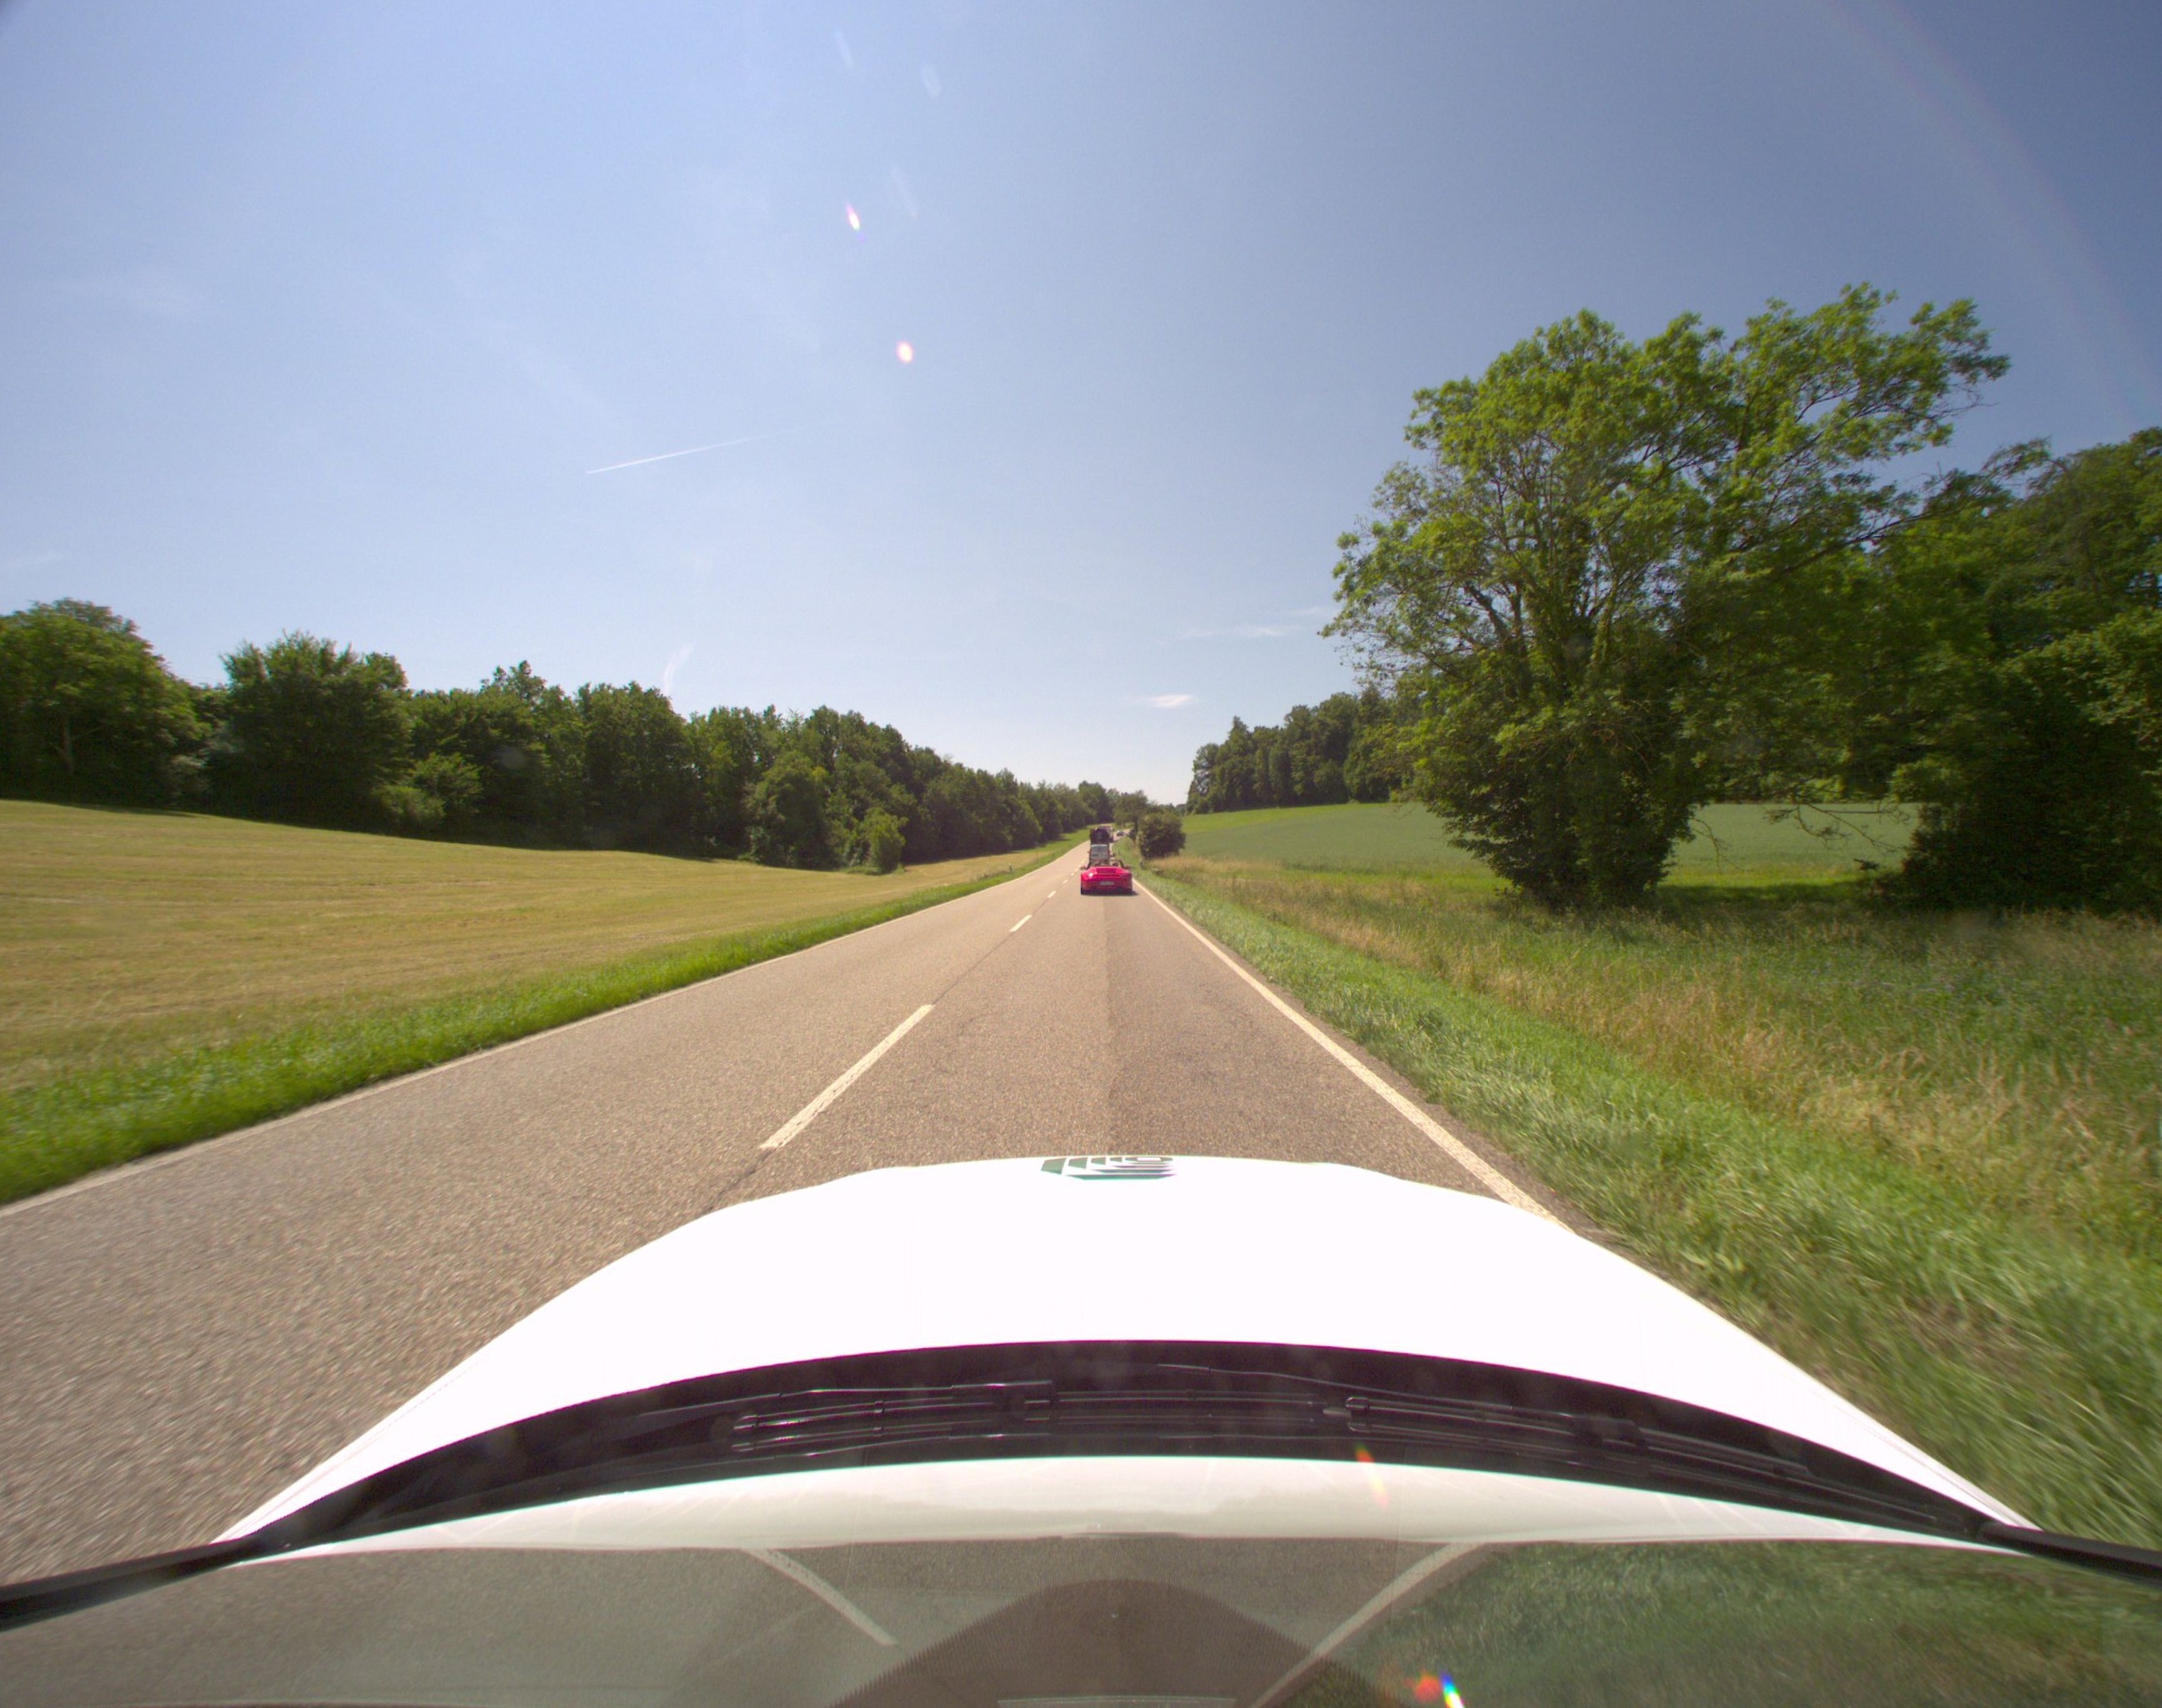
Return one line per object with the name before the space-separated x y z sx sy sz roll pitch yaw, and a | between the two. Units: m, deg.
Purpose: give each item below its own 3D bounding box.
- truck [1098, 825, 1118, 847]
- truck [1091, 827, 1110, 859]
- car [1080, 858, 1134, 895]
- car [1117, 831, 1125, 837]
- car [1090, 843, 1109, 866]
truck | 6.417 -4.362 192.587 3.706 4.658 12.056 -1 4 6
truck | 2.602 -1.492 111.324 2.396 4.049 12.551 0 0 1
car | 0.946 0.795 30.328 1.876 1.255 4.010 -1 0 1
car | 11.258 -5.648 229.663 1.688 1.496 3.720 -4 2 8
car | 1.719 0.033 74.519 1.672 1.900 4.011 -1 2 1
